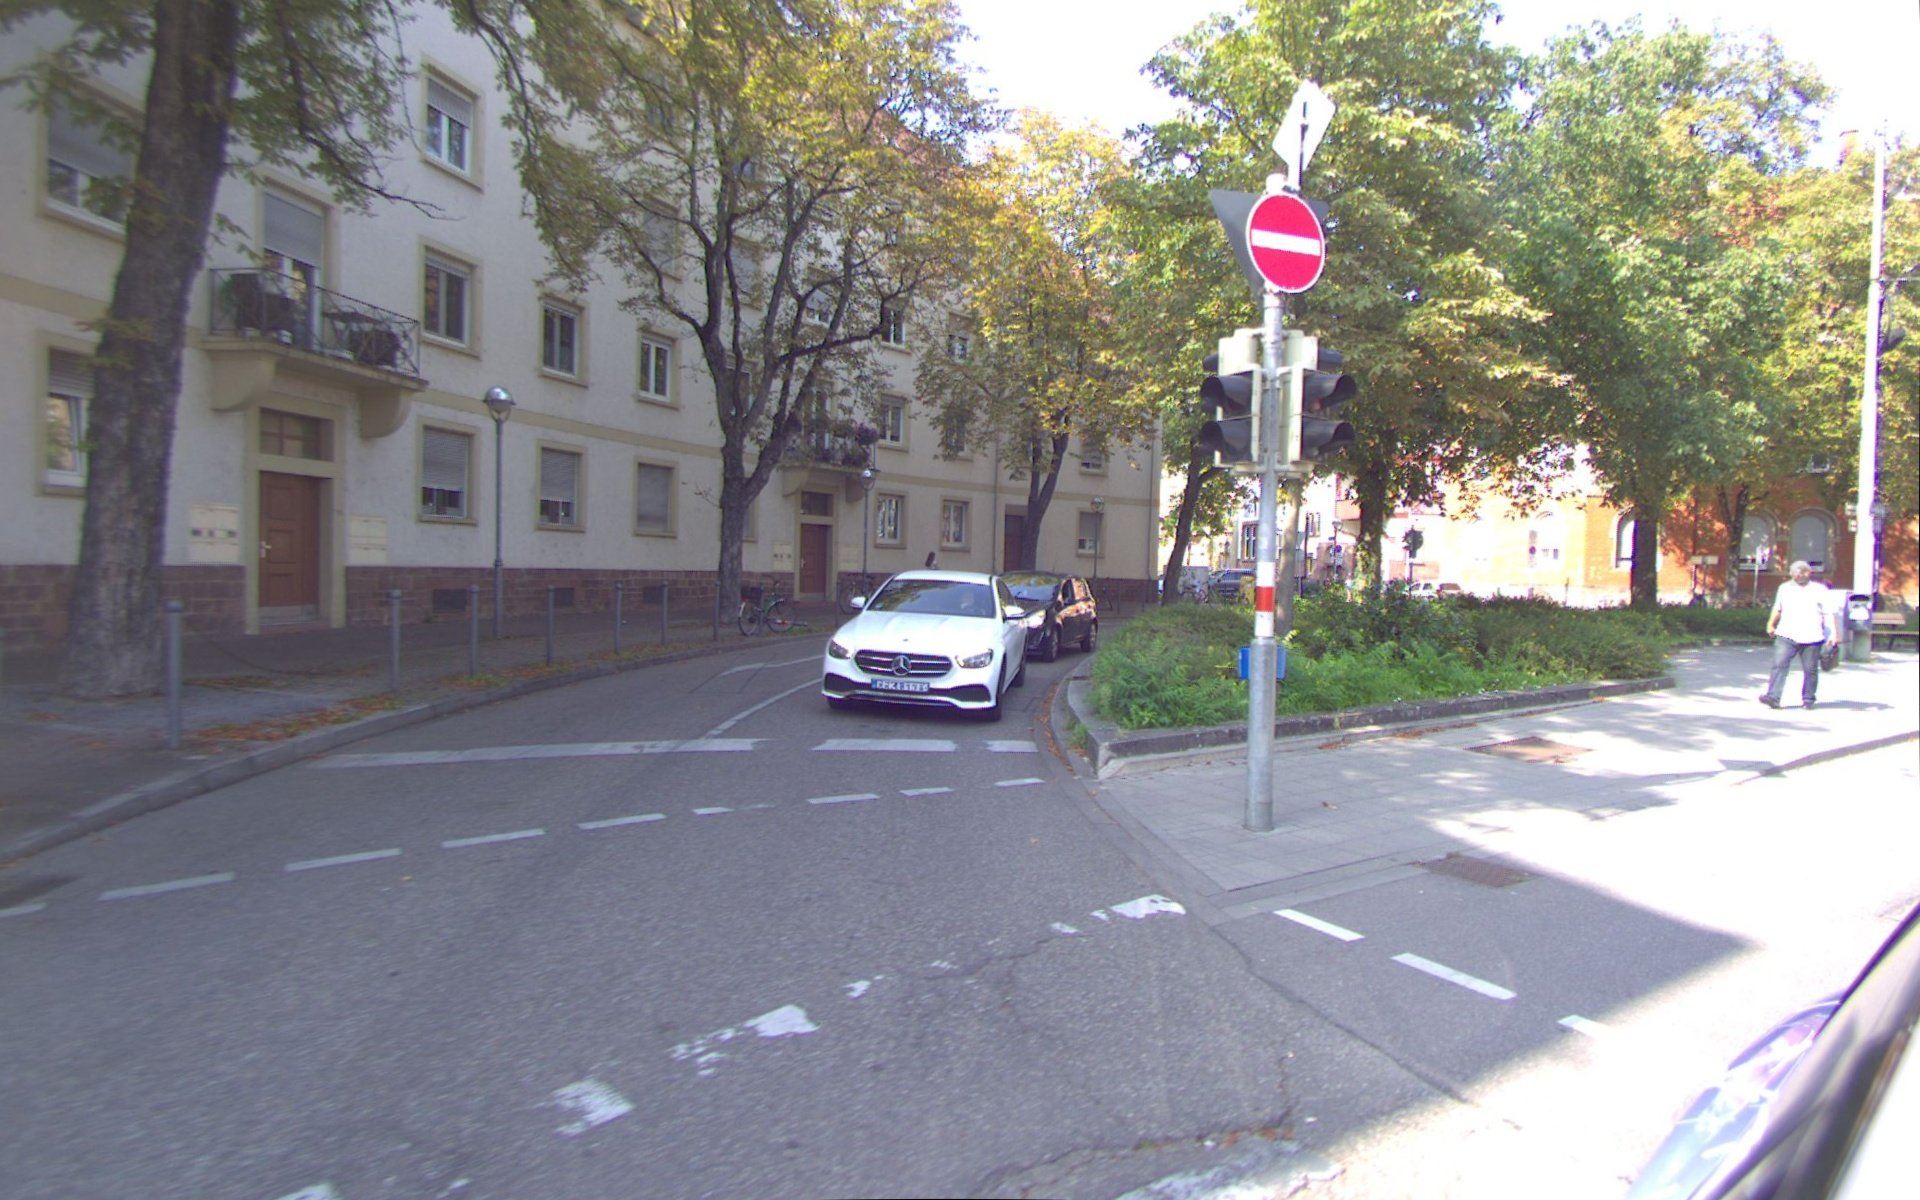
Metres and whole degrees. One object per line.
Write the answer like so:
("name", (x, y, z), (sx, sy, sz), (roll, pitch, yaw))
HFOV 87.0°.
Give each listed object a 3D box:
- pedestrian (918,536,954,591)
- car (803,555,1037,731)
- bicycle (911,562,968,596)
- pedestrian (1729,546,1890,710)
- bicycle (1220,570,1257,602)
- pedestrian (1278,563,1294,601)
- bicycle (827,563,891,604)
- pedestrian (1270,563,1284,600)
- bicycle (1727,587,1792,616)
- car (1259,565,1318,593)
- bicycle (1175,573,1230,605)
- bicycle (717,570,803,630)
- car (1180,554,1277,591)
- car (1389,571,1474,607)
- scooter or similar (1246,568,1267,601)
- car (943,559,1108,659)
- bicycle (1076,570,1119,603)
("pedestrian", (-0.740, -1.131, 31.472), (0.852, 1.692, 0.686), (0, 3, -45))
("car", (-0.206, 0.279, 11.813), (1.845, 1.486, 4.946), (4, 3, 7))
("bicycle", (-0.627, -0.658, 31.325), (1.877, 1.019, 0.533), (-1, 3, -43))
("pedestrian", (9.879, 0.290, 11.791), (0.951, 1.744, 1.082), (0, 5, -34))
("bicycle", (9.909, -0.509, 36.054), (0.596, 1.071, 1.842), (1, 2, -7))
("pedestrian", (15.622, -0.854, 48.510), (0.646, 1.785, 0.603), (2, 2, 19))
("bicycle", (-2.634, -0.438, 26.593), (0.531, 1.019, 1.884), (3, 2, 36))
("pedestrian", (15.559, -0.914, 49.621), (0.583, 1.785, 0.604), (2, 2, 17))
("bicycle", (29.760, 0.060, 37.693), (1.809, 1.072, 0.607), (1, -1, 9))
("car", (20.063, -1.333, 61.939), (1.588, 1.586, 4.009), (1, 2, -11))
("bicycle", (8.592, -0.405, 35.945), (0.598, 1.071, 1.867), (0, 3, -42))
("bicycle", (-3.763, 0.007, 19.189), (0.602, 1.071, 1.824), (2, 0, 25))
("car", (12.815, -1.310, 48.373), (4.107, 1.658, 1.667), (1, 2, -12))
("car", (22.820, -0.587, 49.127), (1.588, 1.586, 4.009), (1, 2, -11))
("scooter or similar", (10.761, -0.571, 36.742), (0.434, 1.172, 1.113), (1, 2, 2))
("car", (1.278, 0.081, 17.861), (1.732, 1.469, 3.861), (4, 3, 22))
("bicycle", (4.638, -0.464, 34.070), (1.458, 1.073, 0.418), (0, 3, -29))
